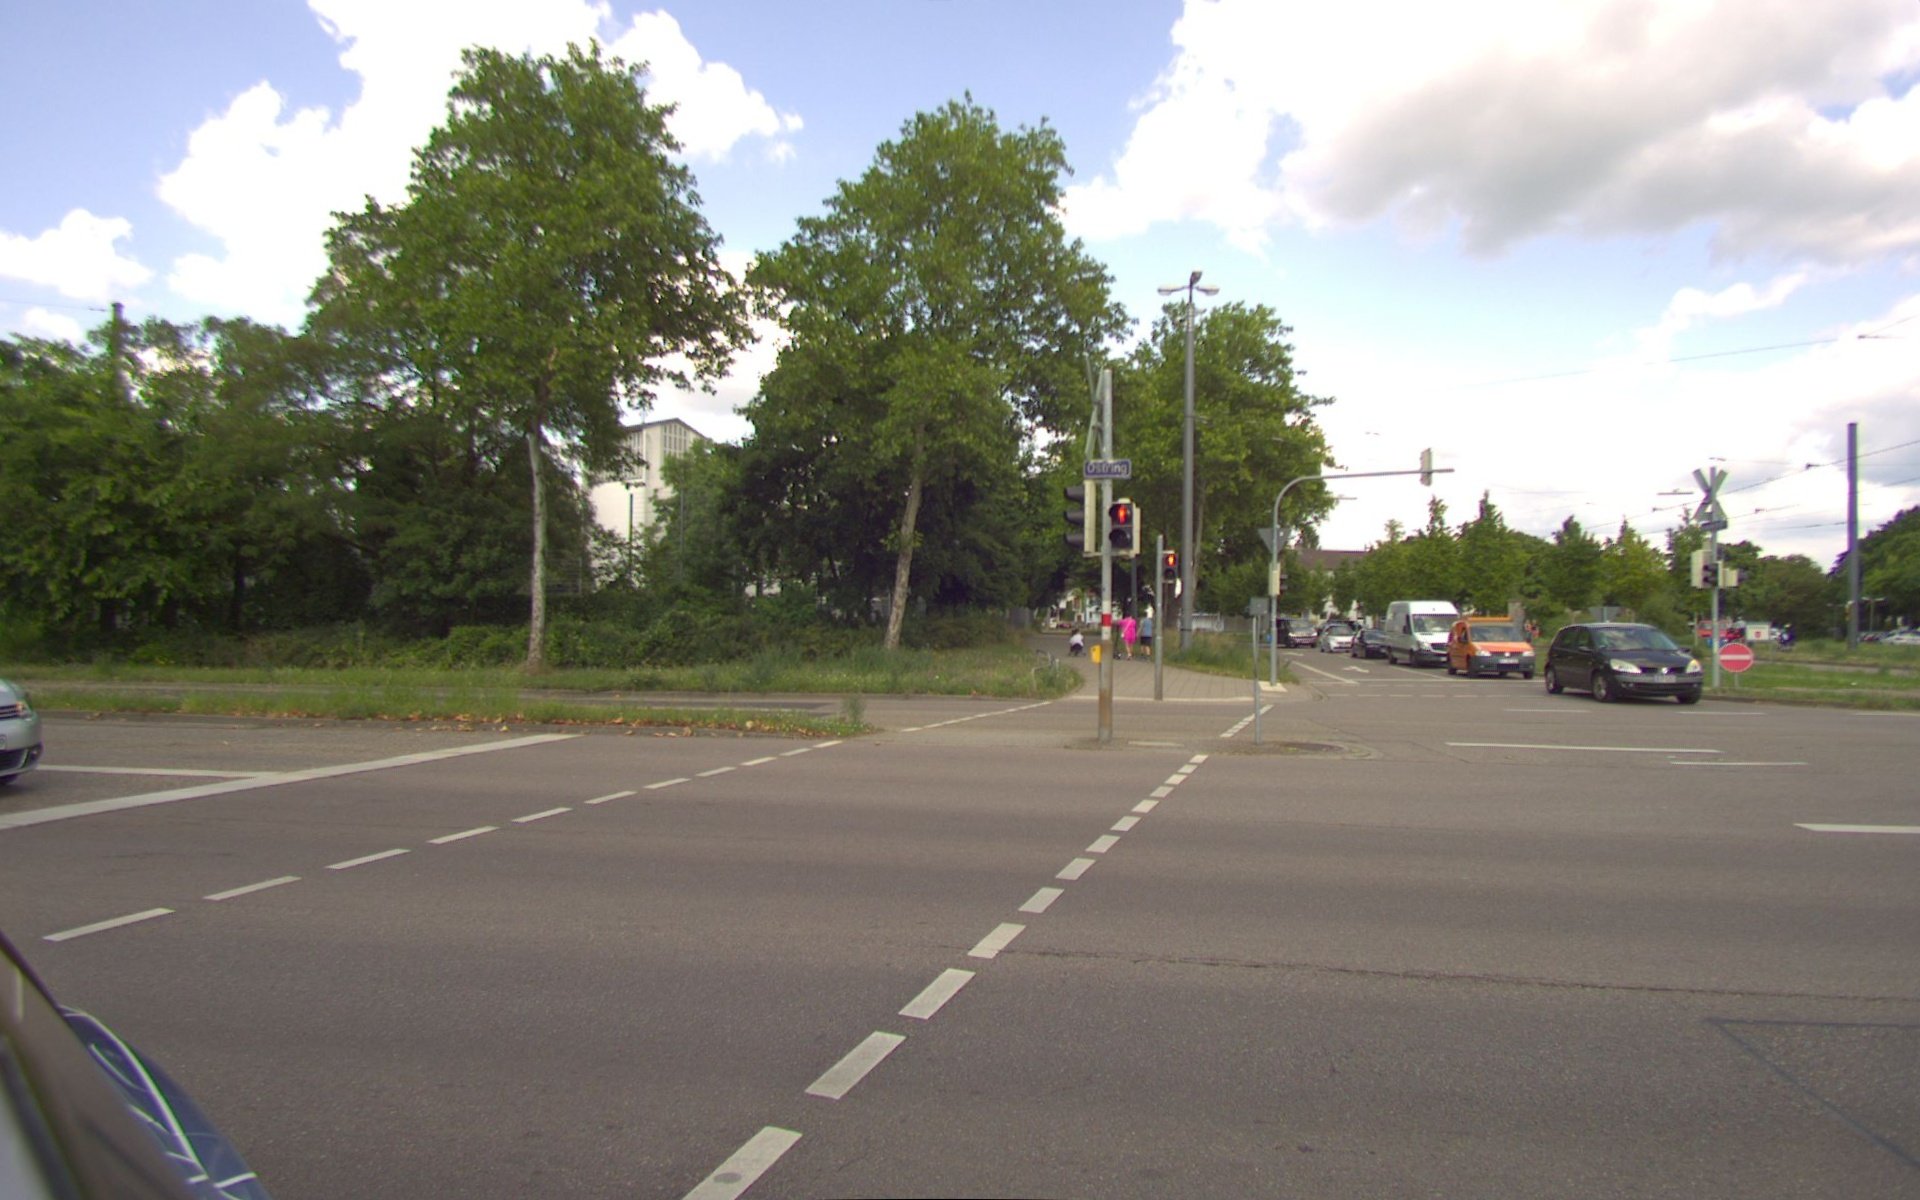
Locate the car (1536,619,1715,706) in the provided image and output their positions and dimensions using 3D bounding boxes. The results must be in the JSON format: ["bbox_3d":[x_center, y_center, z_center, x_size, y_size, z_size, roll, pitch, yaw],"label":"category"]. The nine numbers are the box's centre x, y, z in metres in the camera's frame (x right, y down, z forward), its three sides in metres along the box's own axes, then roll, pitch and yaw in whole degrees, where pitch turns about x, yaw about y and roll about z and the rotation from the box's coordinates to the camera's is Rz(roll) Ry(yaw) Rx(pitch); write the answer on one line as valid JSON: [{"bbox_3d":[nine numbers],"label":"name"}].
[{"bbox_3d":[13.828,1.240,21.311,1.717,1.643,4.038,0,-1,11],"label":"car"}]

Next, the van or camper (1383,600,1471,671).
[{"bbox_3d":[18.114,1.351,39.547,1.963,2.543,6.009,0,-2,14],"label":"van or camper"}]

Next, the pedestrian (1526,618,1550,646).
[{"bbox_3d":[42.483,2.340,74.450,1.092,2.029,1.175,0,-2,4],"label":"pedestrian"}]

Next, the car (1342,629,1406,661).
[{"bbox_3d":[19.449,2.091,47.701,1.791,1.442,4.456,0,-2,9],"label":"car"}]

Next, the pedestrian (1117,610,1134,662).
[{"bbox_3d":[5.299,1.140,32.366,0.418,1.631,0.592,-1,-2,19],"label":"pedestrian"}]

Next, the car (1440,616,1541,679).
[{"bbox_3d":[16.333,1.423,31.381,1.867,1.813,4.348,0,-1,15],"label":"car"}]

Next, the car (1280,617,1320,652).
[{"bbox_3d":[22.017,2.197,65.627,1.835,2.172,4.368,0,-1,10],"label":"car"}]

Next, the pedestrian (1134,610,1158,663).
[{"bbox_3d":[5.812,1.132,31.602,0.628,1.631,0.607,-1,-2,19],"label":"pedestrian"}]

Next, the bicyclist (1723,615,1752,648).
[{"bbox_3d":[40.543,1.633,52.780,0.954,1.735,0.832,0,-2,15],"label":"bicyclist"}]

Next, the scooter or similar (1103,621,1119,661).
[{"bbox_3d":[4.864,1.319,32.652,0.319,1.241,0.770,-2,-2,20],"label":"scooter or similar"}]

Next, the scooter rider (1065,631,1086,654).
[{"bbox_3d":[3.802,1.400,33.389,0.605,0.734,0.856,-2,-2,11],"label":"scooter rider"}]

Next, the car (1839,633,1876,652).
[{"bbox_3d":[79.791,3.746,90.009,1.996,1.652,4.338,-1,-2,35],"label":"car"}]

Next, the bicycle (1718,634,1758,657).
[{"bbox_3d":[40.546,2.344,52.781,0.943,1.163,1.974,0,-1,15],"label":"bicycle"}]

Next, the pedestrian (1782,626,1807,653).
[{"bbox_3d":[42.569,1.997,51.624,0.644,1.364,0.750,-2,-2,10],"label":"pedestrian"}]

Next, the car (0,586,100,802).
[{"bbox_3d":[-9.597,0.721,7.969,4.452,1.664,1.925,0,0,10],"label":"car"}]

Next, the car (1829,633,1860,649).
[{"bbox_3d":[92.630,4.274,106.022,1.996,1.652,4.338,-1,-2,35],"label":"car"}]

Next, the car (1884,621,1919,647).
[{"bbox_3d":[61.014,2.182,64.907,1.996,1.652,4.338,-1,-2,35],"label":"car"}]

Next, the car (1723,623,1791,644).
[{"bbox_3d":[61.595,2.594,78.275,3.992,1.541,1.976,-1,-2,36],"label":"car"}]

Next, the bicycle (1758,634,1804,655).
[{"bbox_3d":[41.174,2.217,50.764,0.942,1.048,1.977,0,-1,11],"label":"bicycle"}]

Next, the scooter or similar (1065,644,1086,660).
[{"bbox_3d":[3.812,1.713,33.376,0.605,0.515,0.855,-2,-2,10],"label":"scooter or similar"}]

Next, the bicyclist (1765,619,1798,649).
[{"bbox_3d":[41.162,1.683,50.715,0.953,1.500,0.833,0,-2,12],"label":"bicyclist"}]

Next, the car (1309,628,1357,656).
[{"bbox_3d":[20.791,2.311,56.578,1.792,1.442,4.368,0,-1,10],"label":"car"}]
